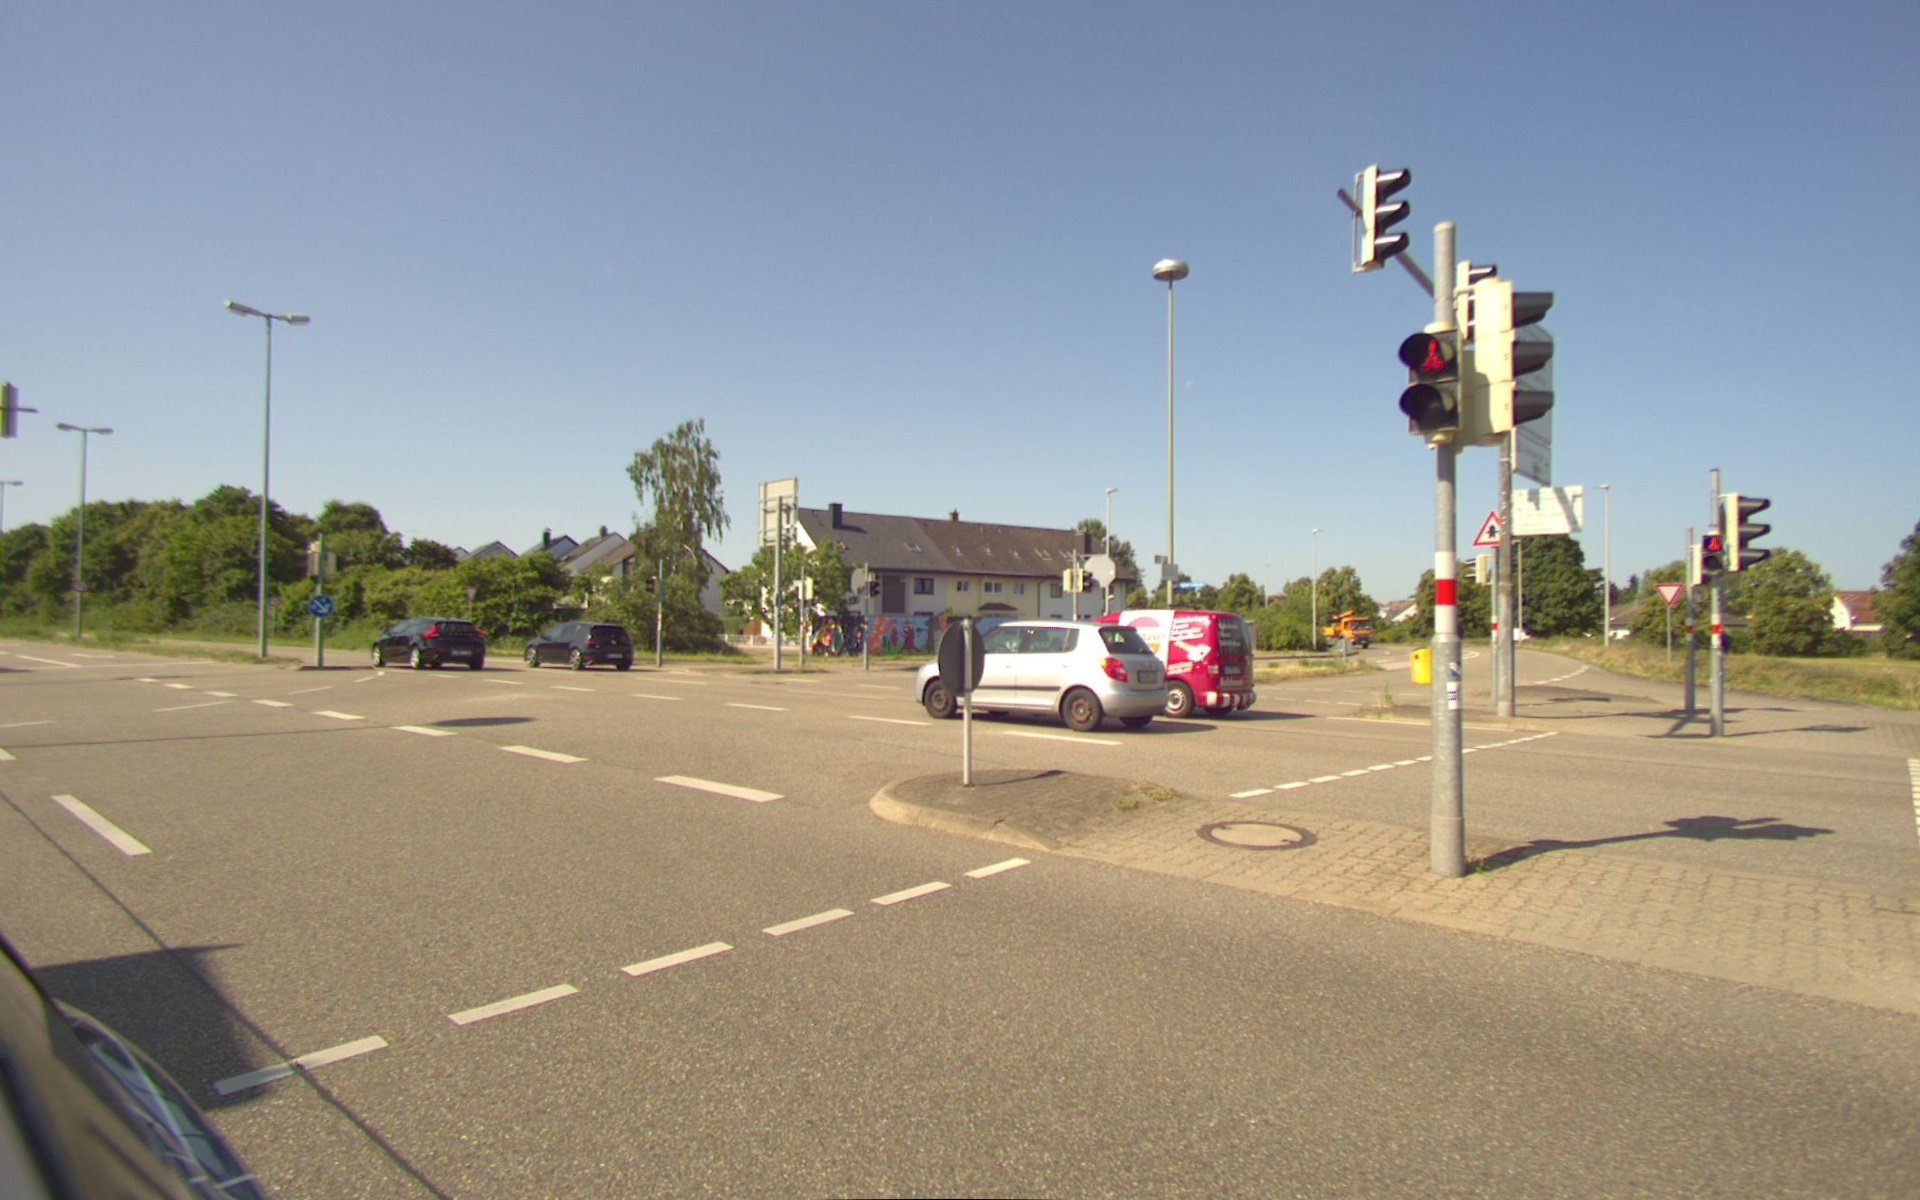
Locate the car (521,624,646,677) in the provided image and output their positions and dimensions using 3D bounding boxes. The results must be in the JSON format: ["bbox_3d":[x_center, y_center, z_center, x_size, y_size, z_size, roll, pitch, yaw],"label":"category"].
[{"bbox_3d":[-11.464,1.488,30.699,4.230,1.468,1.864,-1,-2,43],"label":"car"}]

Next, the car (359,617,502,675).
[{"bbox_3d":[-14.729,1.233,28.070,4.328,1.468,1.961,-1,-2,40],"label":"car"}]

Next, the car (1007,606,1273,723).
[{"bbox_3d":[3.028,1.045,17.434,4.223,1.783,1.688,-1,-3,38],"label":"car"}]

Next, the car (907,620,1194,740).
[{"bbox_3d":[1.203,1.040,14.431,3.869,1.468,1.602,-1,-2,40],"label":"car"}]
